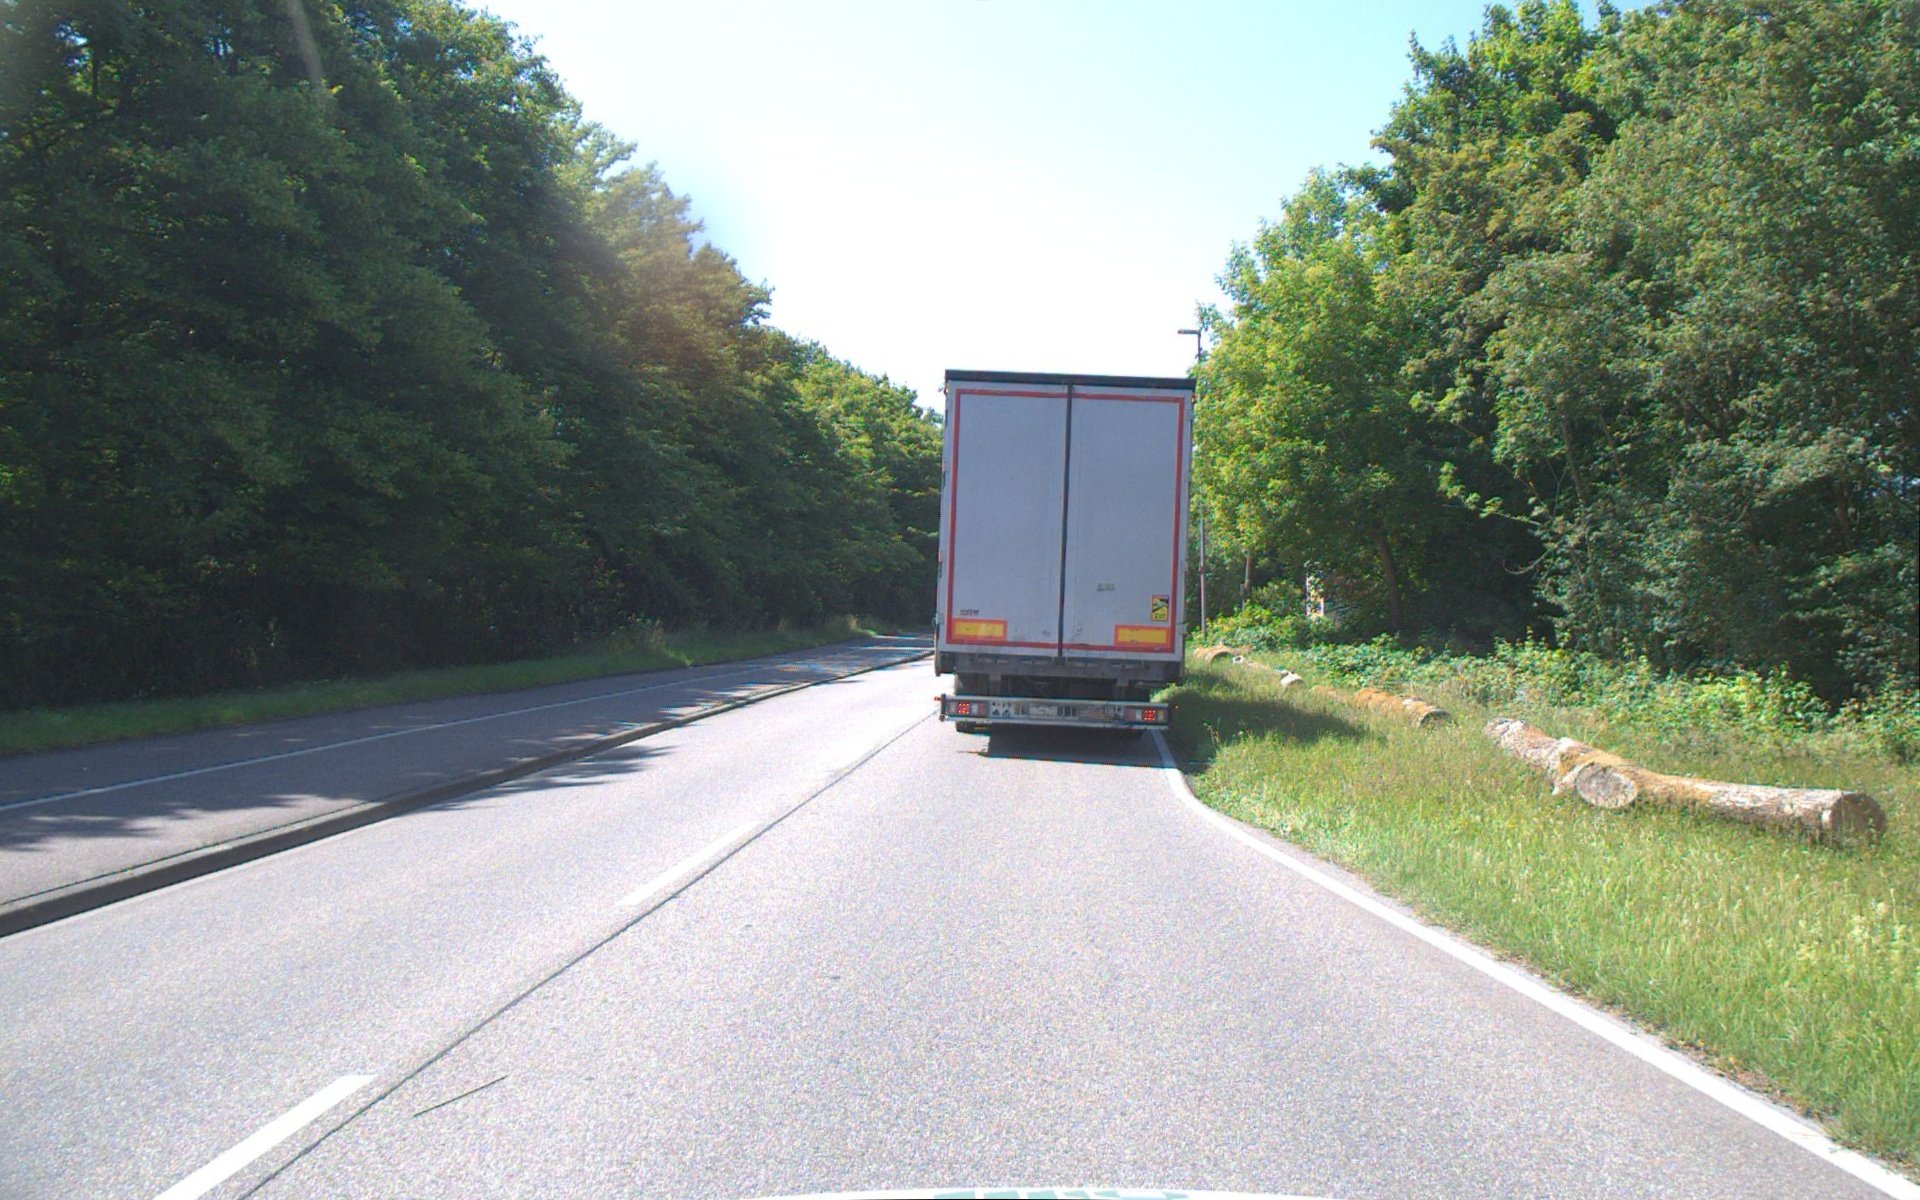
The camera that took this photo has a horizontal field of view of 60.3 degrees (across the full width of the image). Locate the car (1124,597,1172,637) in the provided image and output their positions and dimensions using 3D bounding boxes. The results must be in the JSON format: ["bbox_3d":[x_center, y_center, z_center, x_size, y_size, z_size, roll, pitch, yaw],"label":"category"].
[{"bbox_3d":[7.390,0.658,65.258,1.675,1.557,3.852,0,0,4],"label":"car"}]

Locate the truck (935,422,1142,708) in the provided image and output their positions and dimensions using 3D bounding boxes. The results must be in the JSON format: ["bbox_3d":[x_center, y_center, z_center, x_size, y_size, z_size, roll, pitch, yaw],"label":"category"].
[{"bbox_3d":[1.336,-0.532,28.014,3.013,4.141,7.962,0,0,3],"label":"truck"}]

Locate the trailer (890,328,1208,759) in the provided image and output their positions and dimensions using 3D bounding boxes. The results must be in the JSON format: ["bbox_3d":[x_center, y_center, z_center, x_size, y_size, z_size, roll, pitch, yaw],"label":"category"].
[{"bbox_3d":[1.045,-0.552,21.052,3.013,4.141,9.811,1,0,2],"label":"trailer"}]
